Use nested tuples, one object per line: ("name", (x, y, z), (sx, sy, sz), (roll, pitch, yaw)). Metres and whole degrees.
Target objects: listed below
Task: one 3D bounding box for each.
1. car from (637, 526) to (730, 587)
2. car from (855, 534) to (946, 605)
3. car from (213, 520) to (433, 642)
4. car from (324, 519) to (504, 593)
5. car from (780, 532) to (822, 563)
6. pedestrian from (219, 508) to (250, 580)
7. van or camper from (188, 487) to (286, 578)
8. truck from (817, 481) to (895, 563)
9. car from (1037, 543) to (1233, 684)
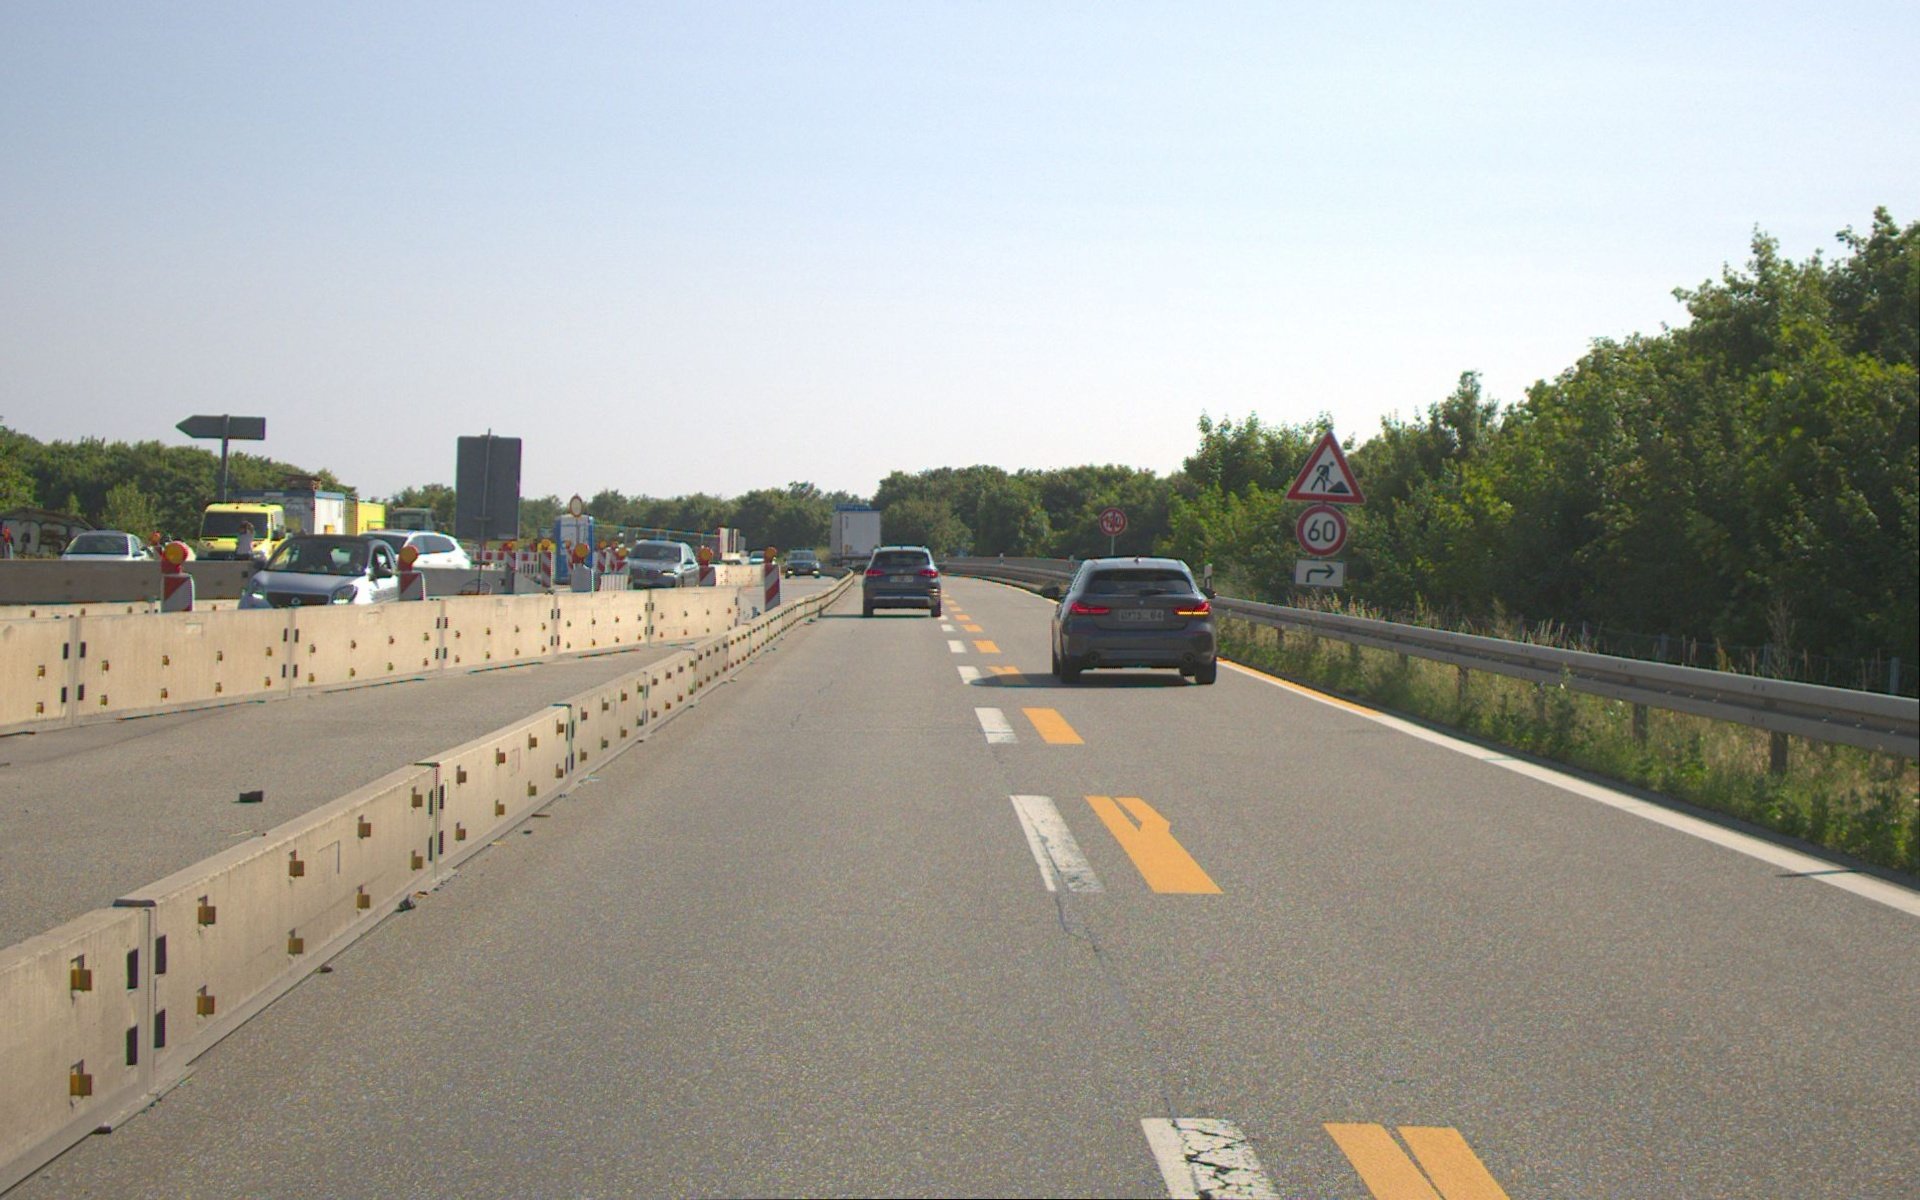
("car", (-7.702, -1.236, 96.202), (1.994, 1.616, 4.848), (1, 1, 2))
("car", (-1.335, -0.716, 78.634), (1.993, 1.561, 4.000), (1, 1, 0))
("car", (-8.438, -0.276, 45.865), (1.711, 1.510, 4.177), (1, 1, 6))
("car", (-12.164, -0.969, 76.809), (1.957, 1.549, 3.994), (3, 1, 27))
("car", (-8.203, -2.704, 177.477), (1.859, 1.468, 4.684), (3, 1, 1))
("pedestrian", (-18.575, -1.440, 87.985), (0.740, 1.814, 0.797), (1, 1, -12))
("van or camper", (-19.699, -1.847, 93.891), (1.993, 2.369, 6.203), (1, 1, -6))
("truck", (-6.738, -4.994, 220.226), (3.760, 4.894, 14.140), (2, 1, -6))
("car", (2.002, 0.119, 40.389), (1.920, 1.488, 4.001), (2, 1, -2))
